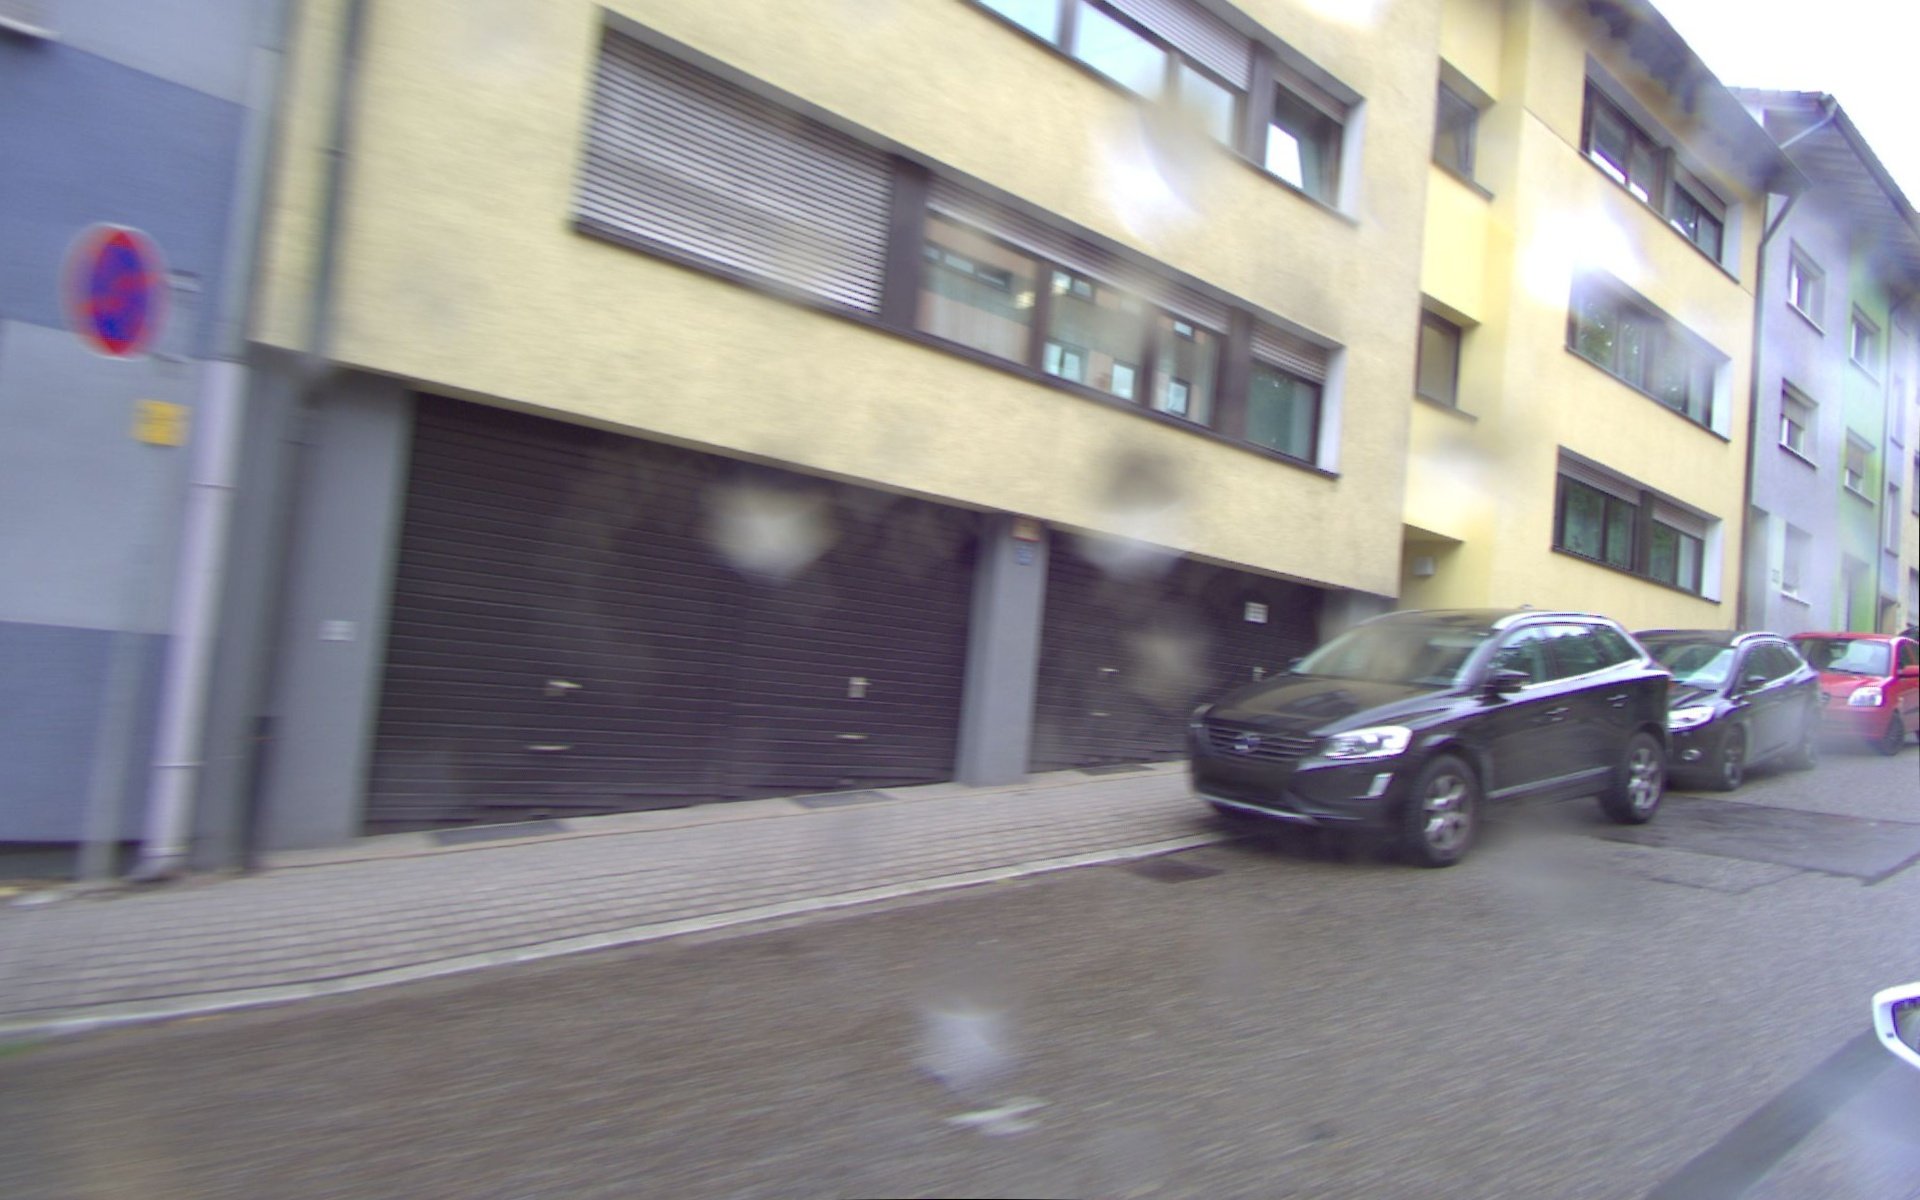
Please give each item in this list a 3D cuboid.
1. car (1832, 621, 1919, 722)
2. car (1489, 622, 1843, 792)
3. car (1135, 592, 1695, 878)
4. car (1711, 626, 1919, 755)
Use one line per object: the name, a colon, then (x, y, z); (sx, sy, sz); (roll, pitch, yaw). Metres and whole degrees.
car: (17.278, 1.217, 17.701); (4.429, 1.606, 1.979); (1, 0, -37)
car: (7.938, 1.023, 11.170); (4.307, 1.492, 1.979); (1, 0, -37)
car: (3.687, 0.826, 7.909); (4.394, 1.672, 1.982); (1, 0, -33)
car: (11.896, 1.133, 13.721); (3.458, 1.492, 1.716); (1, 0, -37)
